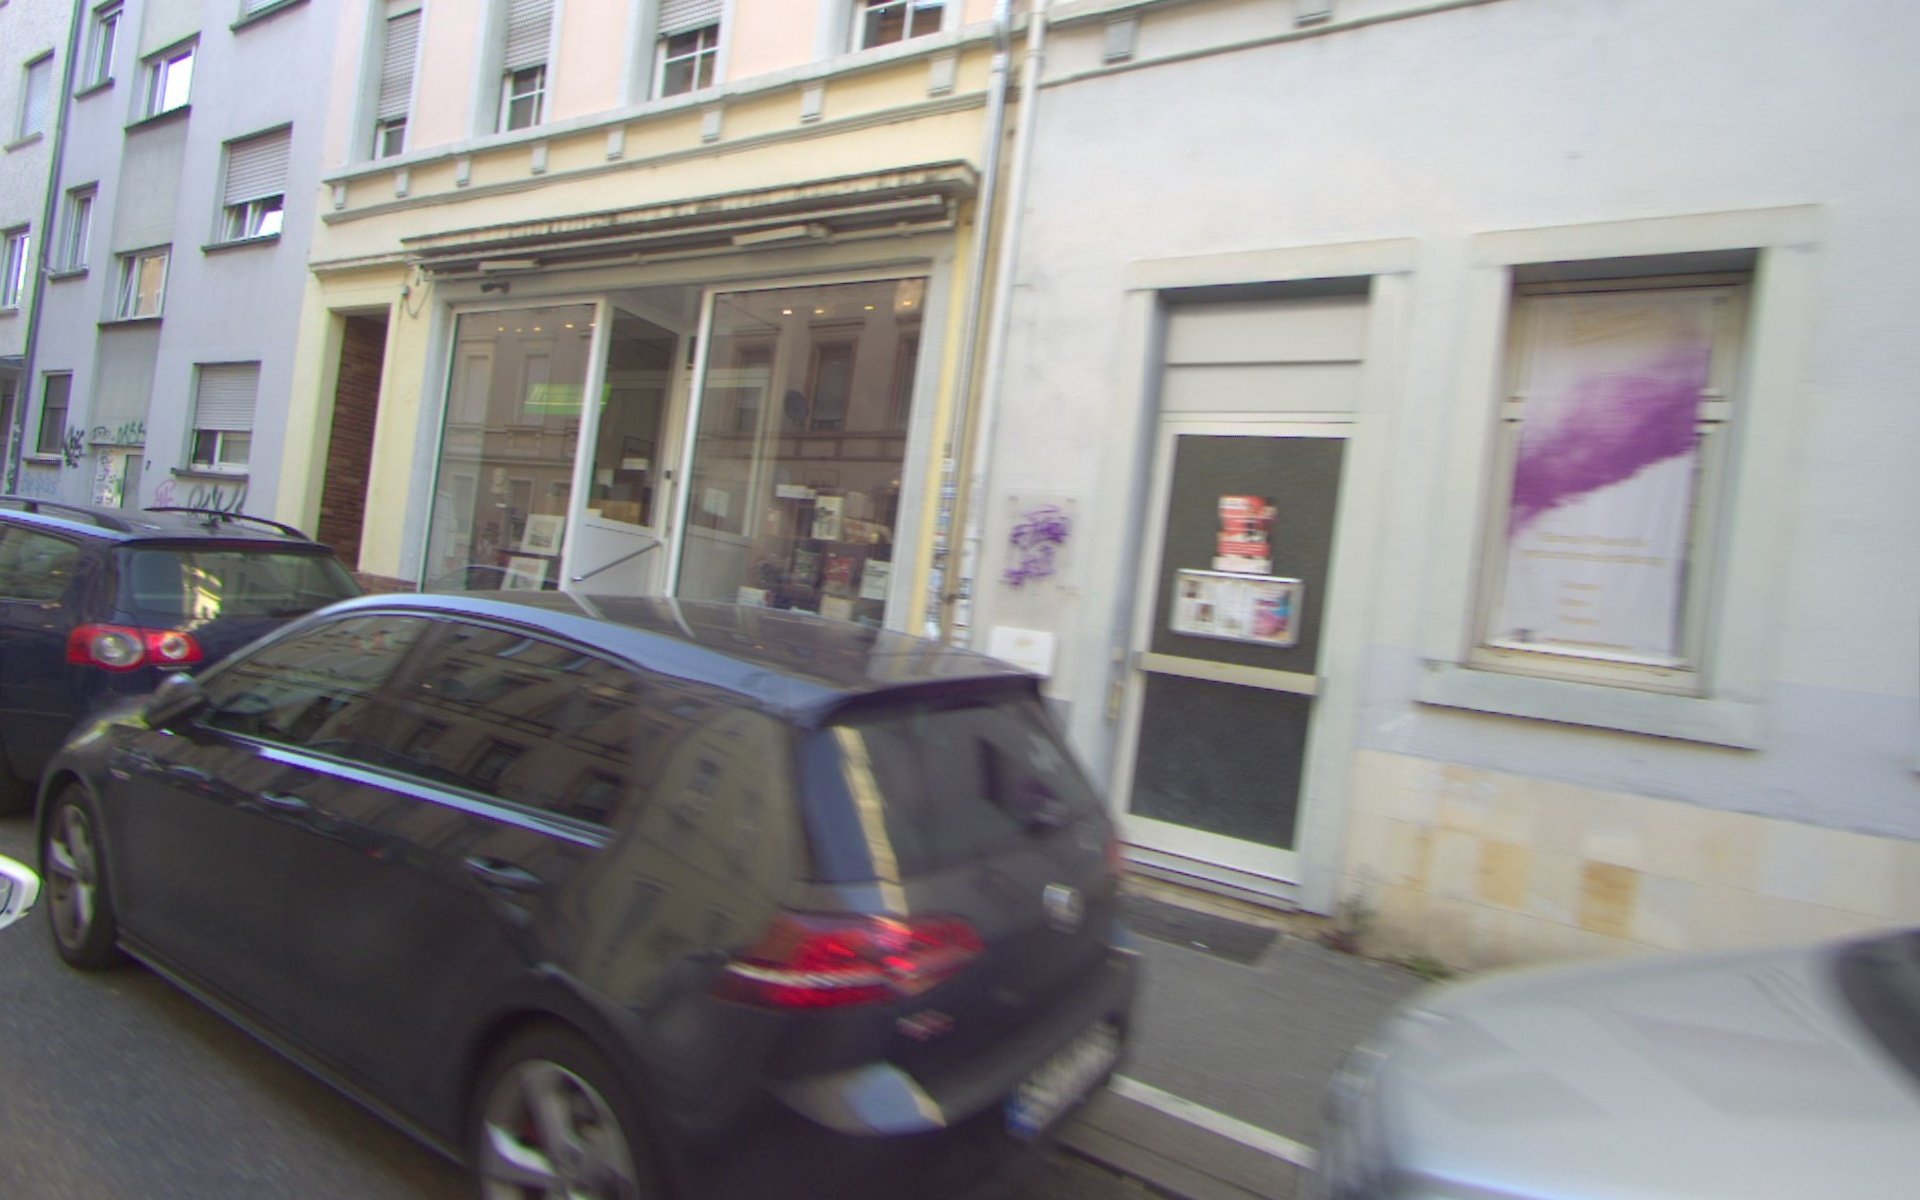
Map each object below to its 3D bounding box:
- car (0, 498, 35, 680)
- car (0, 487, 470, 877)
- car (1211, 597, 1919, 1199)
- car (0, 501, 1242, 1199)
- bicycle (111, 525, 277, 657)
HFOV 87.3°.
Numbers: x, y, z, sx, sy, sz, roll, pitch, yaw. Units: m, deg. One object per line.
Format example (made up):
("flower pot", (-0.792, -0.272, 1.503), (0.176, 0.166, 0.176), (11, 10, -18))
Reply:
("car", (-9.654, -0.336, 8.407), (3.768, 1.447, 1.728), (7, -1, 31))
("car", (-5.363, 0.176, 5.951), (4.524, 1.498, 1.815), (8, 2, 22))
("car", (2.582, 1.078, 0.937), (4.302, 1.628, 1.695), (7, 1, 32))
("car", (-1.445, 0.667, 3.391), (4.172, 1.503, 1.749), (7, -1, 32))
("bicycle", (-8.363, -0.125, 10.947), (2.313, 1.174, 0.628), (7, 3, 32))
